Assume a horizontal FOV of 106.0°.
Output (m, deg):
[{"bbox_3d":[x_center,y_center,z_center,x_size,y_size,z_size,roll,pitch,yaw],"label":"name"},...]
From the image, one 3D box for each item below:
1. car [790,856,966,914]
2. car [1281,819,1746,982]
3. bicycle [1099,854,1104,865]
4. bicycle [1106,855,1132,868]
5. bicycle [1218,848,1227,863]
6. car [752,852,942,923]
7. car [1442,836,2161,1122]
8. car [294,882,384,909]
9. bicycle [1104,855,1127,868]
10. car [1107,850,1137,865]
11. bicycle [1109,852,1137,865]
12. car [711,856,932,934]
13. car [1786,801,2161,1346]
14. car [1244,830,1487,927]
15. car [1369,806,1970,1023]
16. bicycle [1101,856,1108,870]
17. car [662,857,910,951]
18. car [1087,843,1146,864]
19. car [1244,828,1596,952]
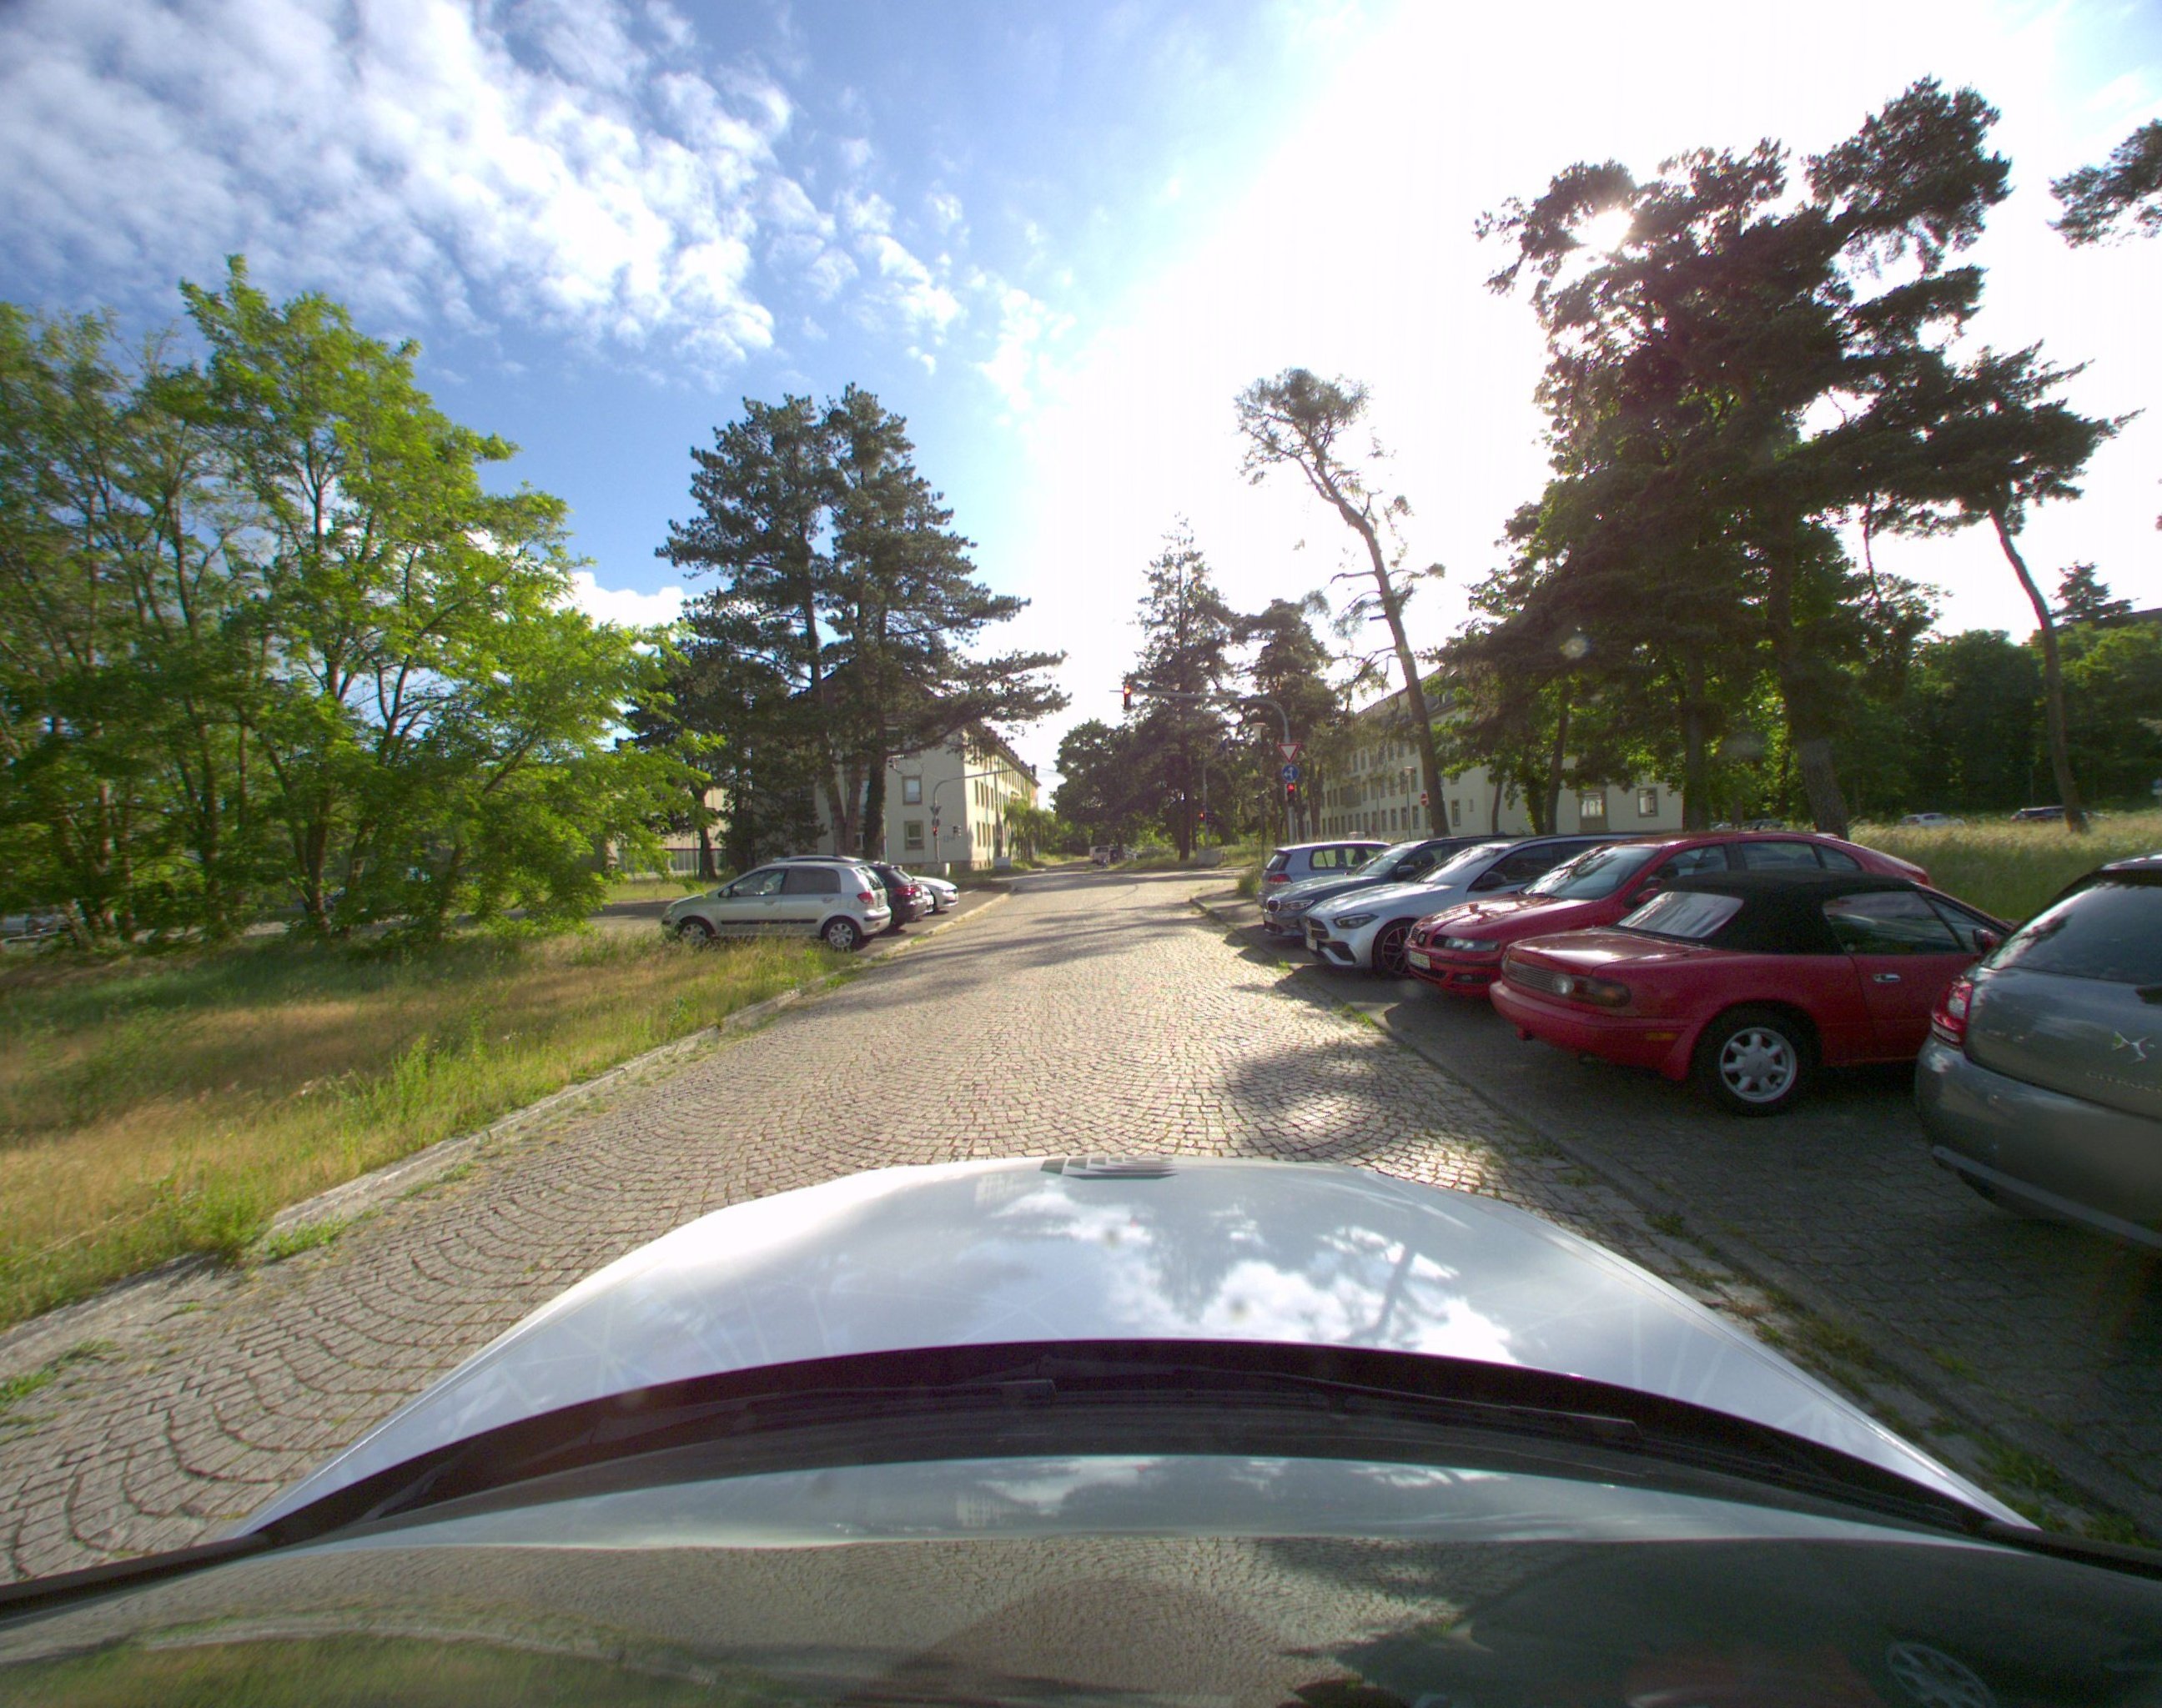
[{"bbox_3d":[-5.438,0.811,22.248,4.321,1.468,1.830,0,1,-2],"label":"car"},{"bbox_3d":[4.783,0.484,9.509,4.415,1.415,1.782,-4,1,2],"label":"car"},{"bbox_3d":[1.823,0.505,73.639,0.415,1.010,1.484,-1,0,3],"label":"bicycle"},{"bbox_3d":[3.042,0.608,65.664,2.002,1.010,0.631,0,-1,-6],"label":"bicycle"},{"bbox_3d":[8.984,0.110,51.713,0.300,0.961,1.585,0,0,-2],"label":"bicycle"},{"bbox_3d":[-5.597,0.770,19.884,4.069,1.593,1.884,0,1,-2],"label":"car"},{"bbox_3d":[4.485,0.634,5.031,3.693,1.223,1.747,-4,1,2],"label":"car"},{"bbox_3d":[-46.838,2.592,51.527,1.895,1.433,4.002,-3,0,2],"label":"car"},{"bbox_3d":[2.847,0.620,67.426,1.835,1.010,0.634,0,-1,-6],"label":"bicycle"},{"bbox_3d":[3.939,0.326,78.415,2.775,1.467,1.669,0,0,-3],"label":"car"},{"bbox_3d":[3.274,0.379,64.021,2.106,1.010,0.619,0,-1,-6],"label":"bicycle"},{"bbox_3d":[-5.261,0.807,16.914,3.976,1.480,1.802,0,1,-2],"label":"car"},{"bbox_3d":[4.768,0.492,2.421,3.693,1.449,1.817,-4,1,1],"label":"car"},{"bbox_3d":[5.109,0.425,15.002,3.867,1.415,1.637,-4,0,2],"label":"car"},{"bbox_3d":[4.954,0.478,7.304,4.111,1.449,1.637,-4,0,2],"label":"car"},{"bbox_3d":[1.742,0.668,60.390,0.466,1.010,1.585,0,0,-2],"label":"bicycle"},{"bbox_3d":[-5.051,0.830,14.327,3.736,1.487,1.645,0,1,-2],"label":"car"},{"bbox_3d":[3.556,-0.060,81.947,5.534,2.014,1.989,0,-1,-17],"label":"car"},{"bbox_3d":[4.902,0.499,12.225,4.542,1.415,1.637,-4,0,2],"label":"car"}]
